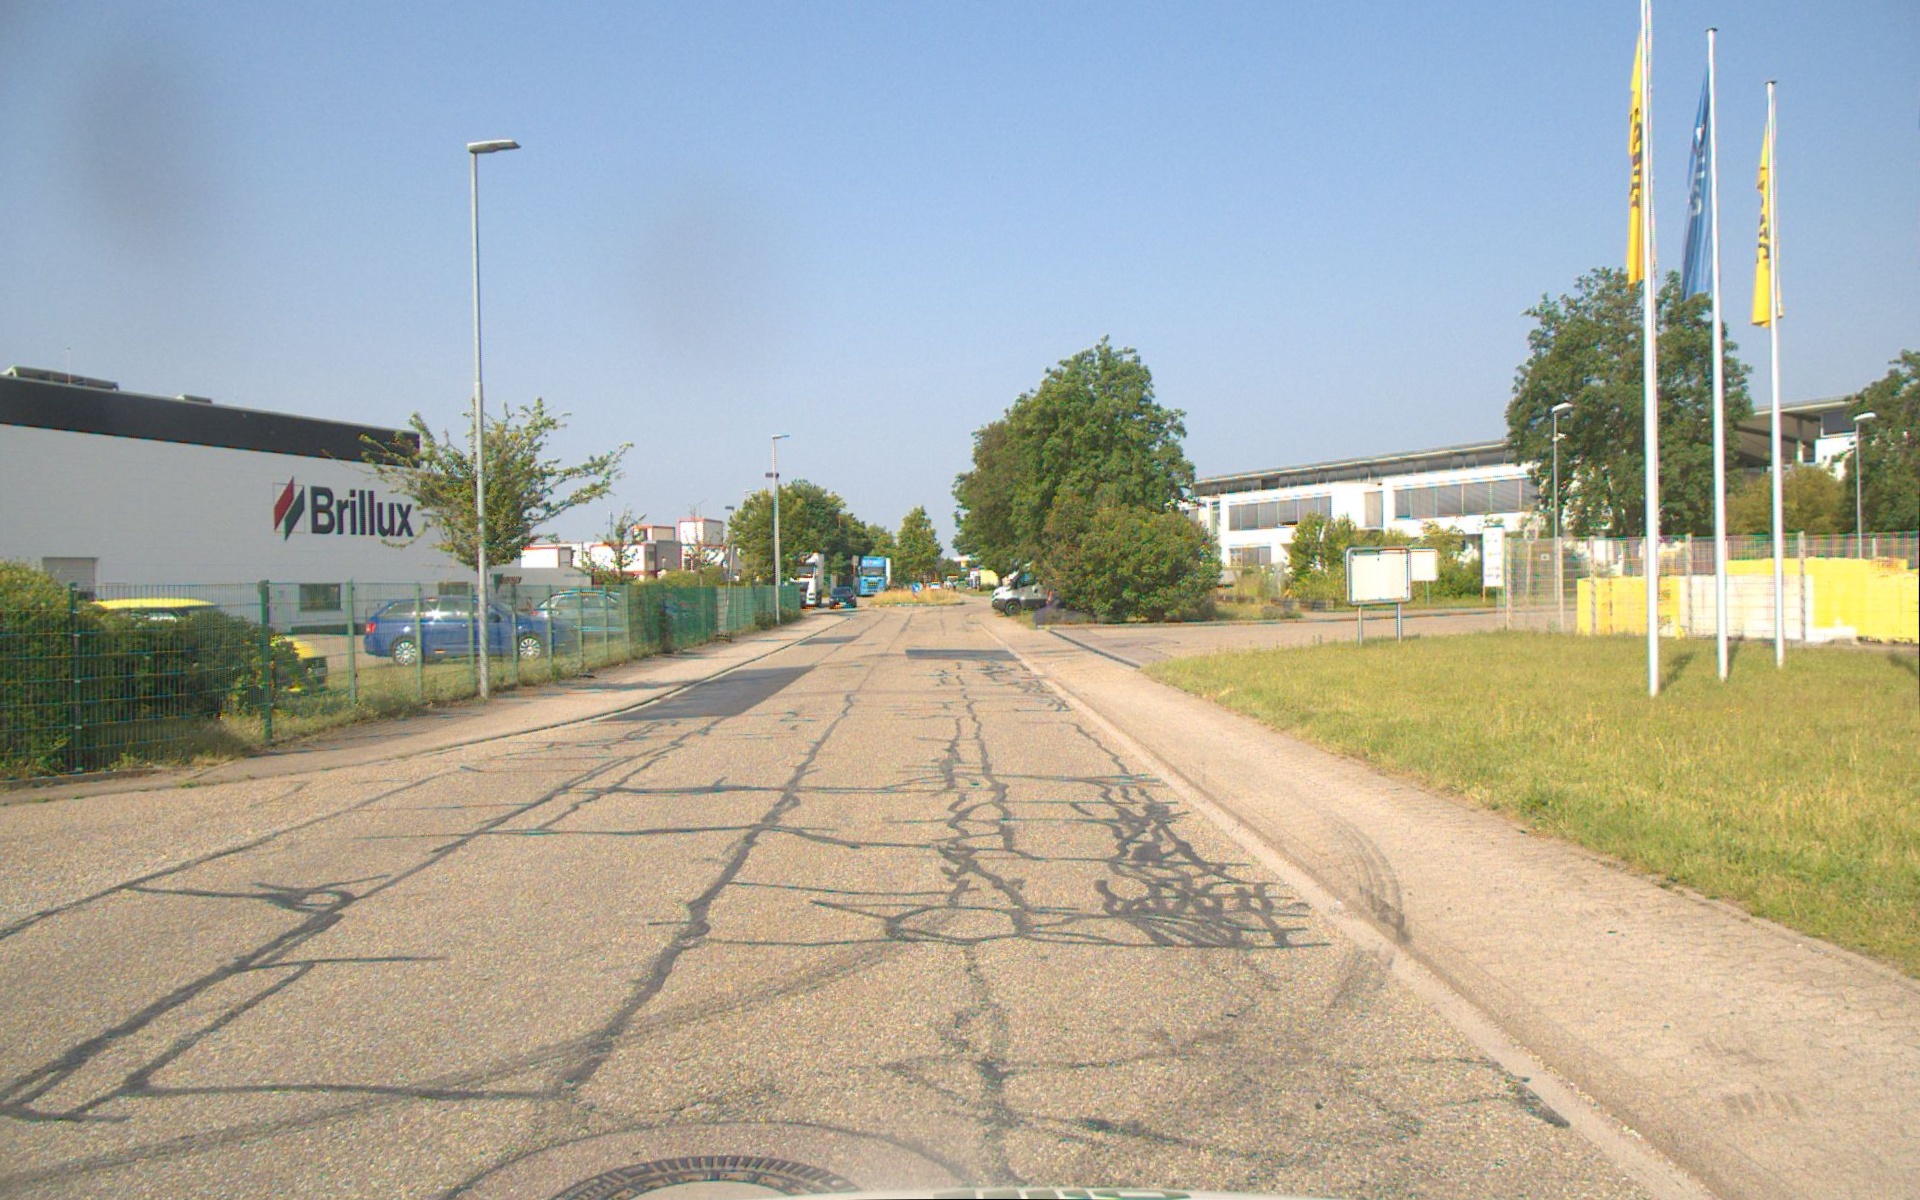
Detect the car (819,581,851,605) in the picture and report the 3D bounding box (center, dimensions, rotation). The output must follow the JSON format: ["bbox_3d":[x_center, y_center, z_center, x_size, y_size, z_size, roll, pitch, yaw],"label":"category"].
[{"bbox_3d":[-8.538,-0.497,113.091,1.954,1.474,4.418,-4,1,-3],"label":"car"}]

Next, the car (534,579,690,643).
[{"bbox_3d":[-9.978,0.301,47.682,4.044,1.595,1.864,-3,1,-2],"label":"car"}]

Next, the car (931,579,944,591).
[{"bbox_3d":[-3.364,-2.202,246.164,1.684,1.690,3.821,1,0,-3],"label":"car"}]

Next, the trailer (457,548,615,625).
[{"bbox_3d":[-24.259,-0.683,95.883,2.429,4.112,13.899,1,0,15],"label":"trailer"}]

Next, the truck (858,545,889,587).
[{"bbox_3d":[-8.530,-3.289,163.743,2.768,3.892,9.670,1,0,-1],"label":"truck"}]

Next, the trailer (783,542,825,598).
[{"bbox_3d":[-11.627,-2.176,123.795,2.645,3.990,7.572,1,0,-2],"label":"trailer"}]

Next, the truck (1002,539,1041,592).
[{"bbox_3d":[4.938,-2.759,133.343,2.690,4.050,4.000,-4,1,-1],"label":"truck"}]

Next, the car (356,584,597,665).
[{"bbox_3d":[-10.474,0.510,36.084,4.592,1.469,2.077,-3,1,-2],"label":"car"}]

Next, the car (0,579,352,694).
[{"bbox_3d":[-10.659,0.465,22.428,4.079,1.392,1.868,-2,1,-1],"label":"car"}]

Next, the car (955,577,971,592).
[{"bbox_3d":[0.350,-1.851,204.581,1.756,1.780,3.998,1,0,-2],"label":"car"}]

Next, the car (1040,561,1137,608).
[{"bbox_3d":[5.369,-0.656,69.446,3.905,1.870,2.000,-2,1,0],"label":"car"}]

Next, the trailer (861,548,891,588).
[{"bbox_3d":[-8.749,-3.266,173.733,2.774,3.910,12.032,1,0,-1],"label":"trailer"}]

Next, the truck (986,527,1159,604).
[{"bbox_3d":[5.376,-1.644,80.082,8.043,3.429,2.740,-2,0,-2],"label":"truck"}]

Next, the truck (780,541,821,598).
[{"bbox_3d":[-11.497,-2.178,119.399,2.654,3.990,4.295,1,0,-2],"label":"truck"}]
